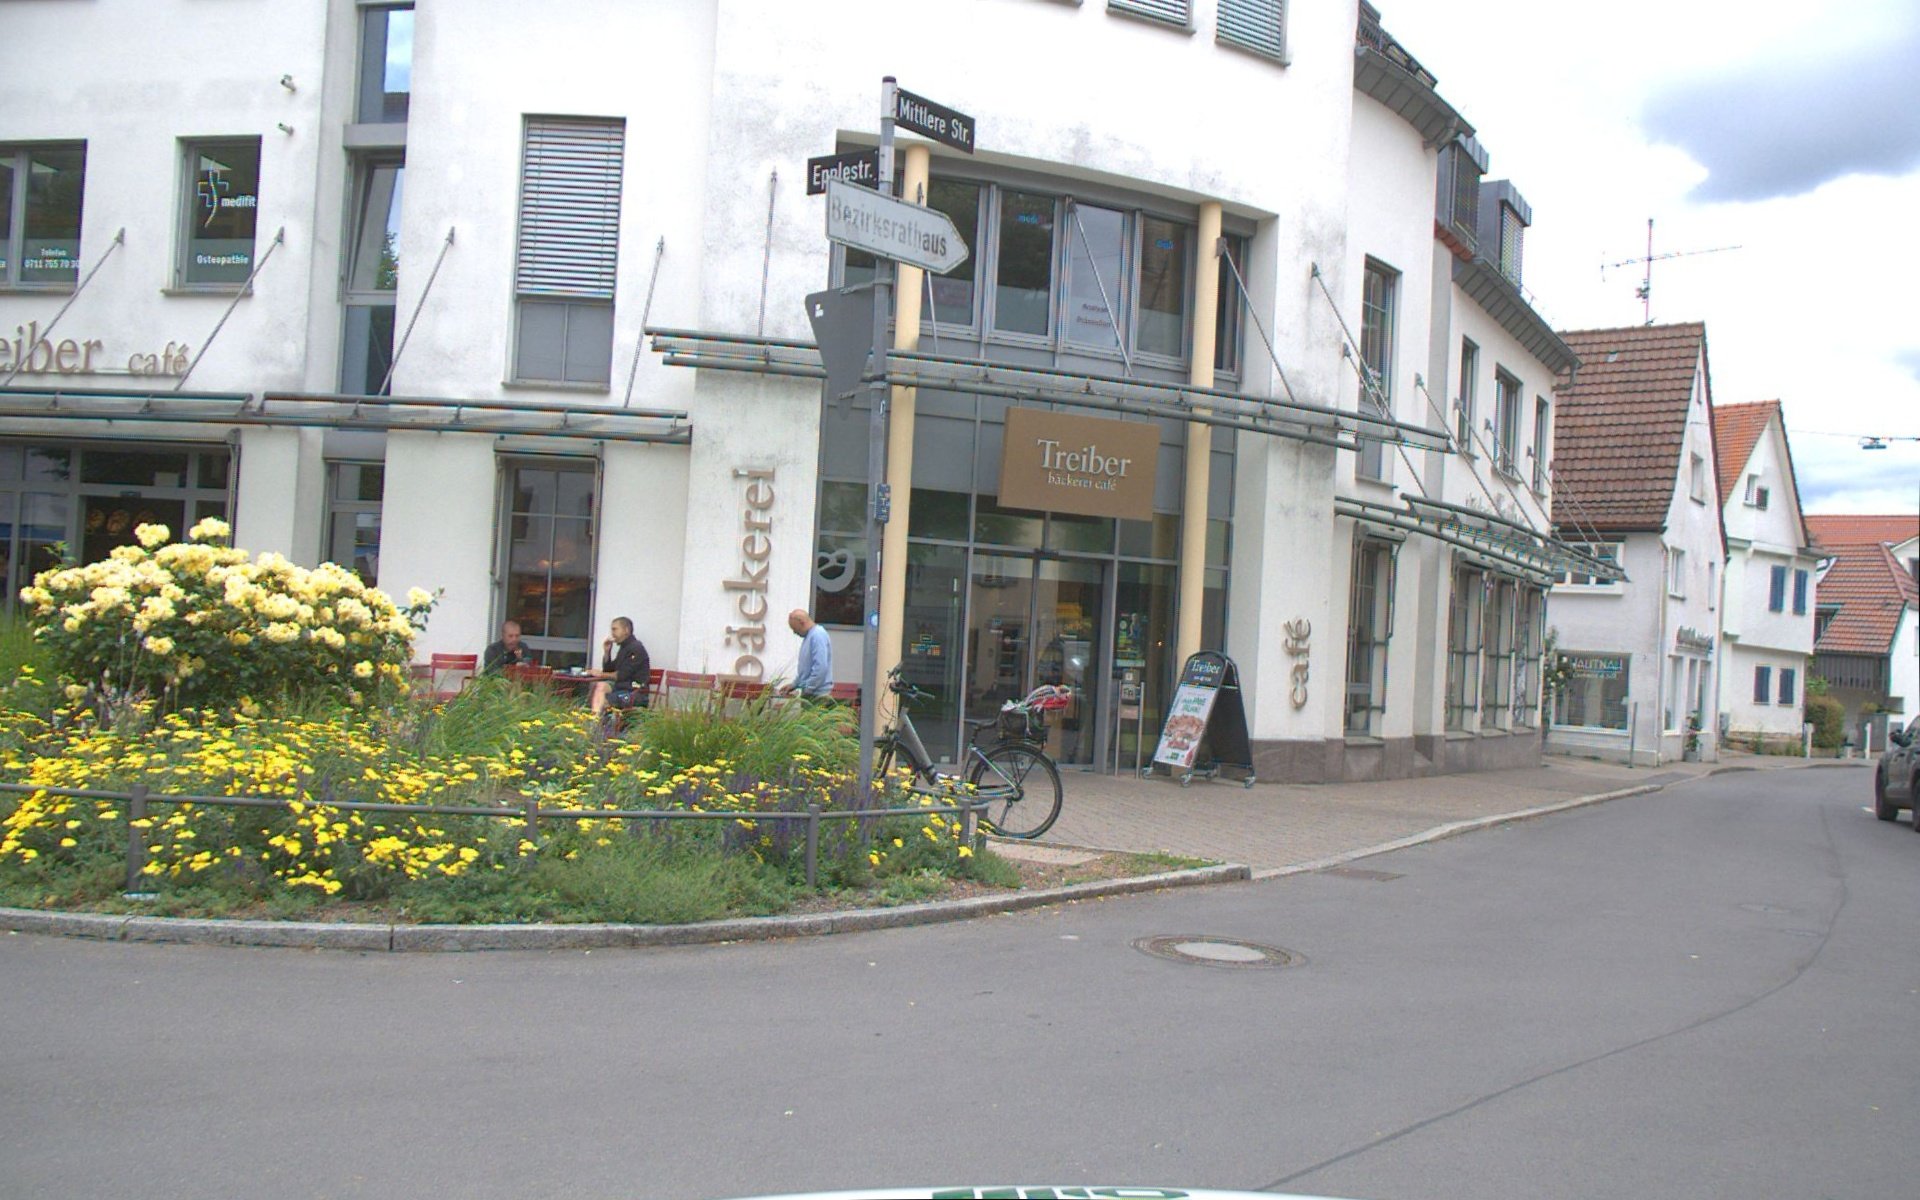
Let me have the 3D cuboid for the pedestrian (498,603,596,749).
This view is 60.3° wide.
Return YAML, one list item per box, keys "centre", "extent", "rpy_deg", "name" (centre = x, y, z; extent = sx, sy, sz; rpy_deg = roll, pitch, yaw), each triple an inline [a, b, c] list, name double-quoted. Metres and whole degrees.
- centre: [-4.039, 0.730, 16.203]
  extent: [0.686, 1.355, 0.684]
  rpy_deg: [3, -1, 2]
  name: "pedestrian"

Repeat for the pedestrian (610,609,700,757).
- centre: [-2.953, 0.789, 16.075]
  extent: [0.641, 1.365, 0.696]
  rpy_deg: [3, -1, 2]
  name: "pedestrian"

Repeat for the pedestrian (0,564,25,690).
- centre: [-10.630, 0.264, 17.733]
  extent: [0.554, 1.340, 0.765]
  rpy_deg: [3, -3, 15]
  name: "pedestrian"

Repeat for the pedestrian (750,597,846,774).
- centre: [-1.487, 0.773, 15.346]
  extent: [0.686, 1.552, 0.867]
  rpy_deg: [3, -1, 2]
  name: "pedestrian"

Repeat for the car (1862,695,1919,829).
- centre: [12.986, 2.115, 21.153]
  extent: [1.751, 1.628, 4.542]
  rpy_deg: [4, -2, 19]
  name: "car"

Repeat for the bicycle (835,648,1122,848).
- centre: [0.146, 1.063, 12.290]
  extent: [1.932, 1.261, 0.744]
  rpy_deg: [4, -1, 14]
  name: "bicycle"

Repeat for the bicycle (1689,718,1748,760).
- centre: [21.150, 3.872, 46.114]
  extent: [2.068, 1.056, 0.438]
  rpy_deg: [6, 2, -36]
  name: "bicycle"
